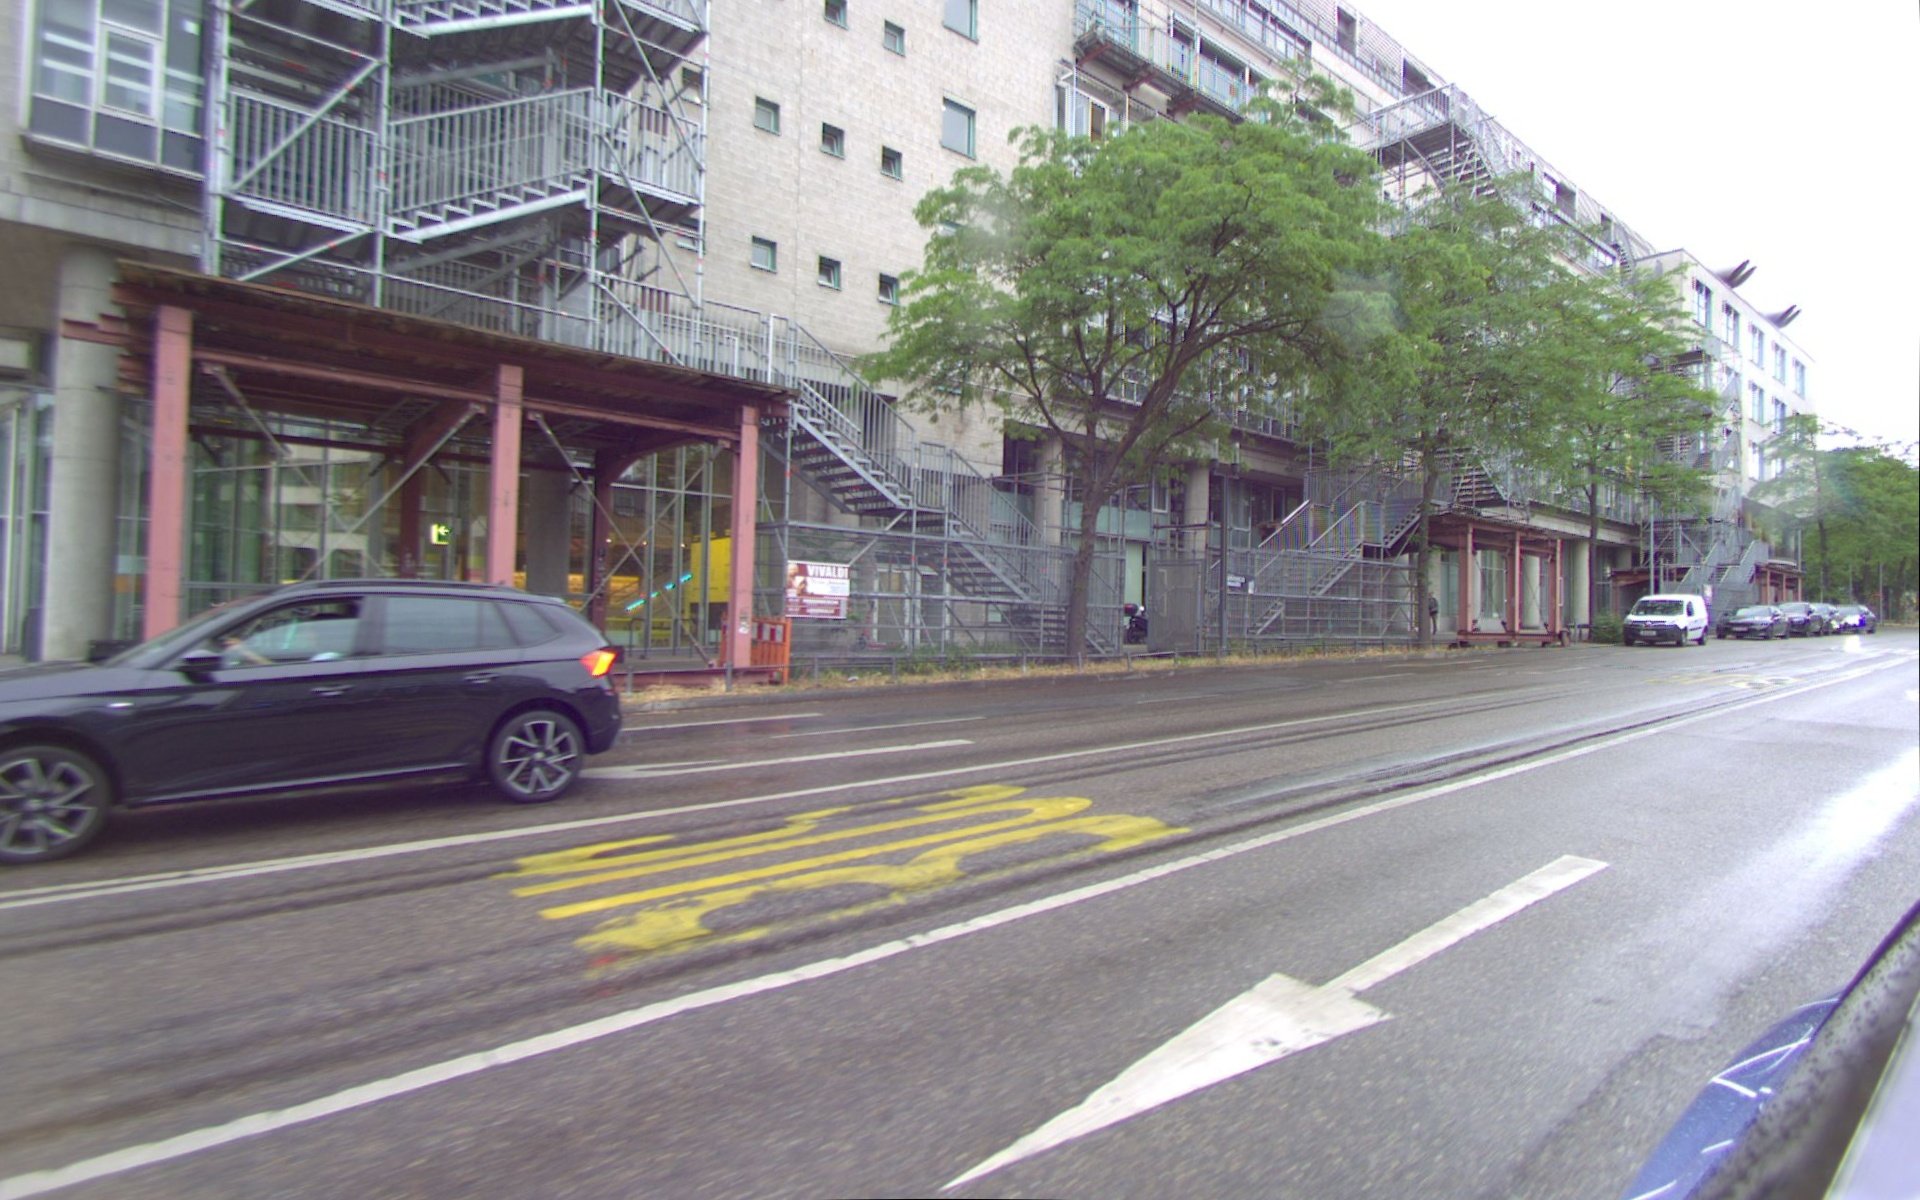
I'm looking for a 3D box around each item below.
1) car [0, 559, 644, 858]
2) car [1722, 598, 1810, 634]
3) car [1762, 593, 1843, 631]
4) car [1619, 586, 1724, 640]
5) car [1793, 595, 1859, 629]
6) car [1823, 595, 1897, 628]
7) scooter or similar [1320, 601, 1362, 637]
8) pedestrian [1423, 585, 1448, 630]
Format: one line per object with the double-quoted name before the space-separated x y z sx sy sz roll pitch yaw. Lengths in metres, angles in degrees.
"car" -4.459 0.564 6.861 4.071 1.559 1.782 0 0 -39
"car" 34.068 0.658 42.731 4.831 1.456 1.873 1 0 -39
"car" 39.174 0.531 47.032 4.774 1.667 1.998 1 0 -39
"car" 25.030 0.438 35.549 4.447 1.772 1.997 0 0 -41
"car" 43.206 0.571 50.441 4.512 1.621 1.865 1 0 -41
"car" 47.930 0.603 53.865 5.191 1.621 1.999 1 0 -38
"scooter or similar" 12.609 0.622 33.485 1.520 1.176 0.632 0 0 -41
"pedestrian" 19.045 0.286 40.500 0.641 1.764 0.678 0 0 -38
